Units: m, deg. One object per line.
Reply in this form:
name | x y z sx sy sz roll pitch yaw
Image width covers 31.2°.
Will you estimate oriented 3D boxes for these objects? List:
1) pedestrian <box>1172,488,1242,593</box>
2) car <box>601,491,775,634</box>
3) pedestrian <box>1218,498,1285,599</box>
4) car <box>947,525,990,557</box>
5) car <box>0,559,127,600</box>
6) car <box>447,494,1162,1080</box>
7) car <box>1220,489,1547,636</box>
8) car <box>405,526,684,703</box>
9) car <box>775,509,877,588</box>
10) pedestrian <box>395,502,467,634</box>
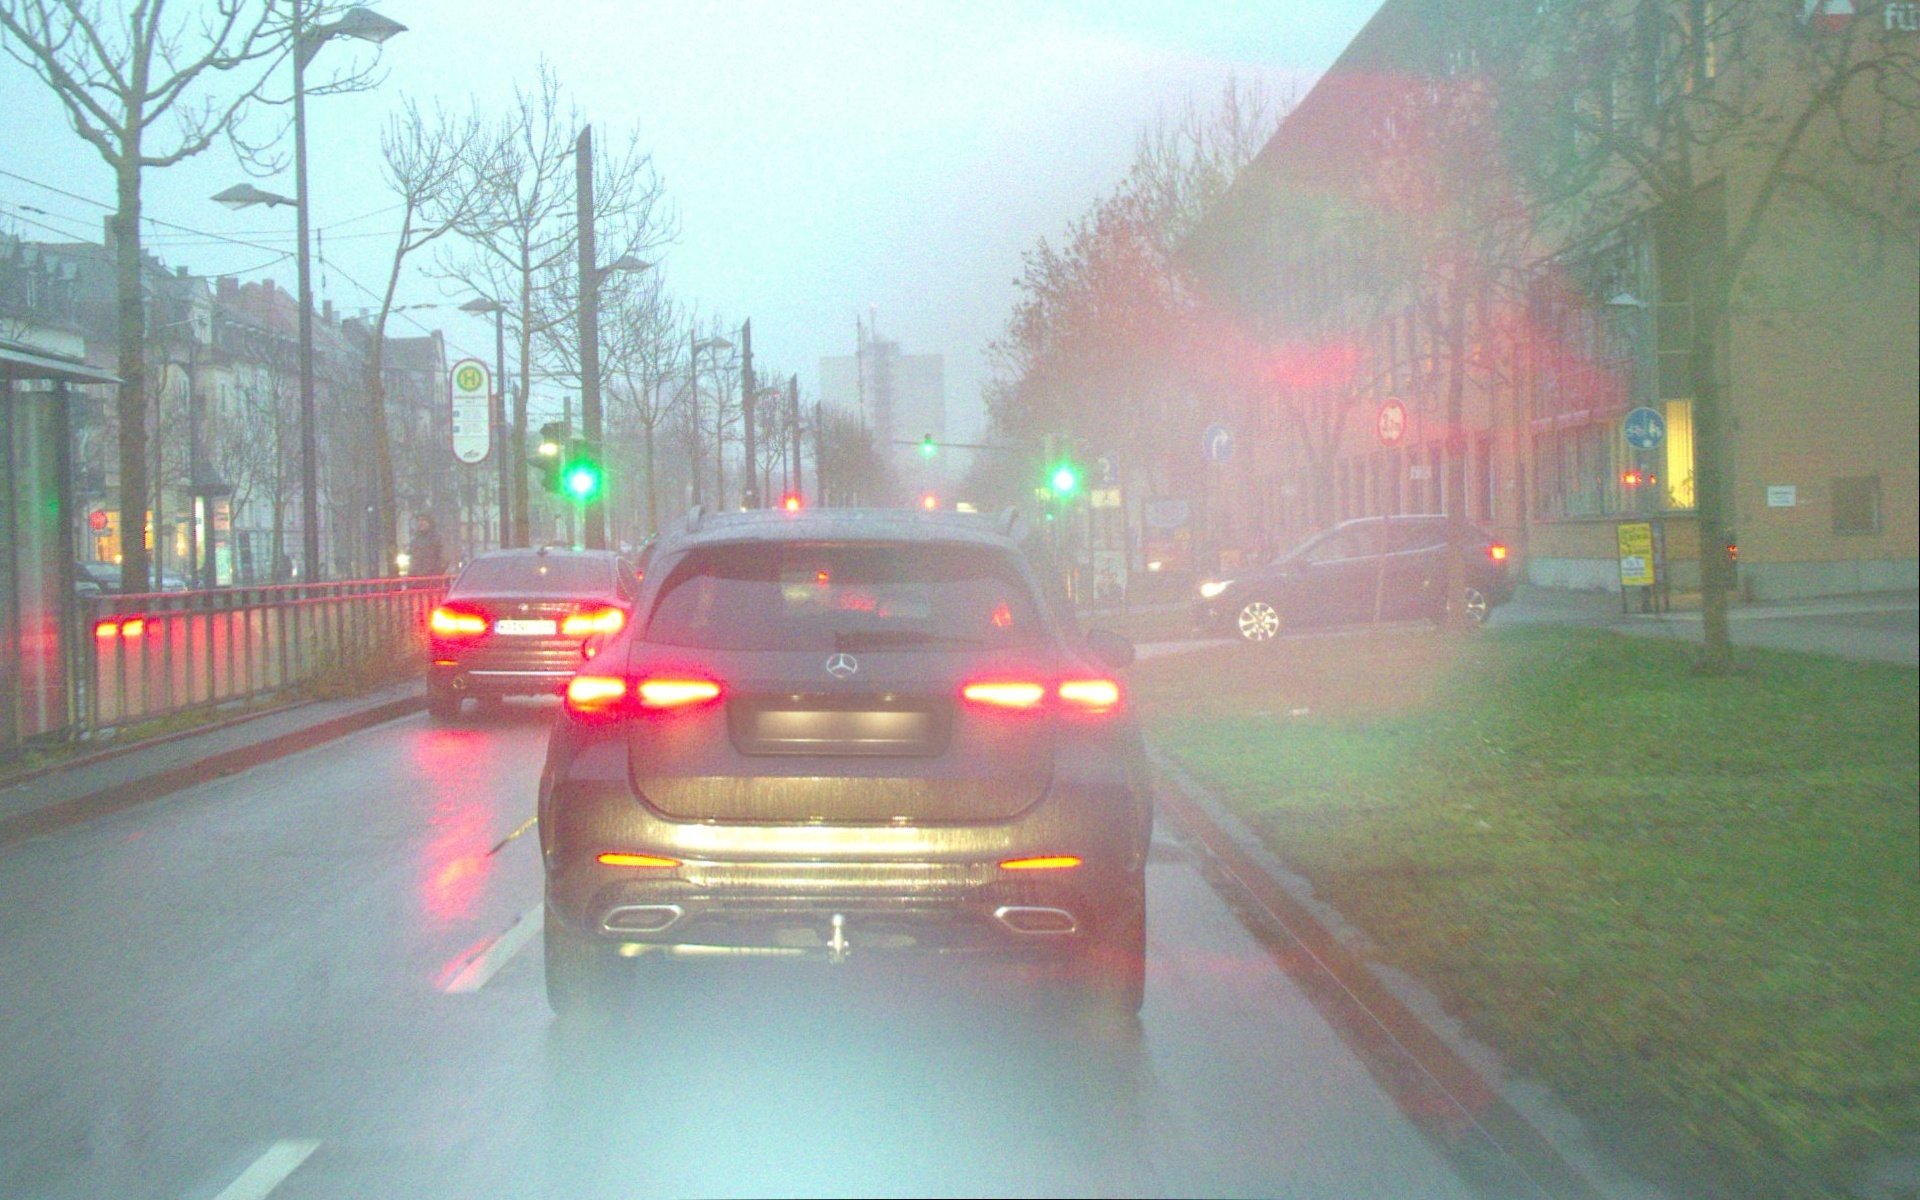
pedestrian | 3.825 -0.923 53.180 0.903 1.590 0.501 -1 1 42
car | -3.590 -0.529 45.969 1.993 1.759 4.000 -2 1 -1
pedestrian | 4.693 -0.832 55.385 0.903 1.590 0.501 -1 1 42
car | 0.393 -2.891 167.752 1.993 1.474 4.000 -3 1 -1
car | -28.990 -0.667 110.773 3.774 1.152 1.649 -2 1 5
car | -0.498 0.488 11.835 1.990 1.610 4.001 -2 1 -2
car | 5.330 -0.483 43.634 3.860 1.555 1.765 -4 1 1
car | -3.606 0.081 30.532 1.993 1.393 4.000 -2 1 -1
car | -2.904 -1.147 75.262 1.993 1.612 4.000 -2 1 0
pedestrian | -6.348 -0.384 41.268 0.699 1.547 0.669 -2 1 0
